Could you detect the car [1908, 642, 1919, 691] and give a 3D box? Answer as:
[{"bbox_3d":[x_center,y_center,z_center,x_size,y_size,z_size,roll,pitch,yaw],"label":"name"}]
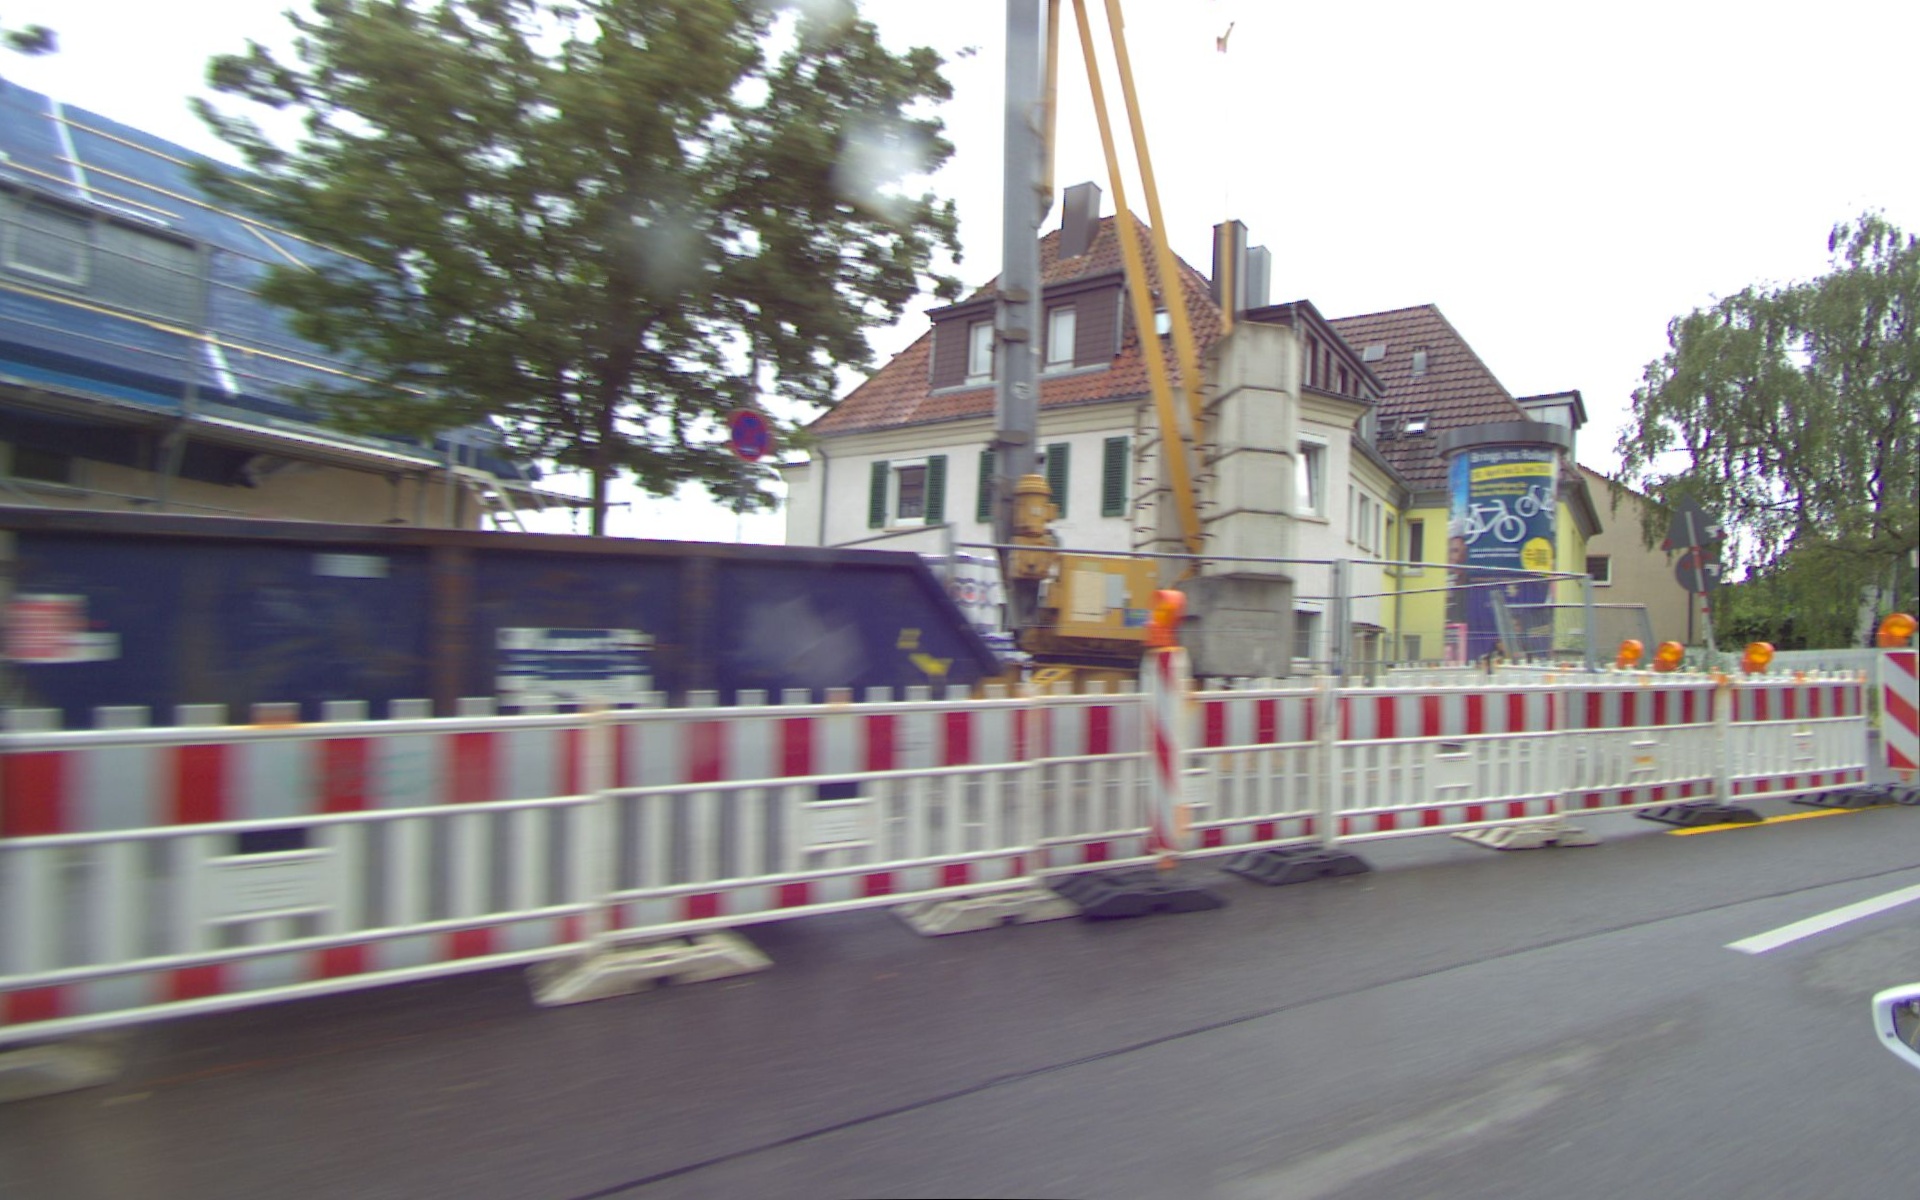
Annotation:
[{"bbox_3d":[30.550,1.952,30.079,1.657,1.528,4.013,-3,-6,21],"label":"car"}]
